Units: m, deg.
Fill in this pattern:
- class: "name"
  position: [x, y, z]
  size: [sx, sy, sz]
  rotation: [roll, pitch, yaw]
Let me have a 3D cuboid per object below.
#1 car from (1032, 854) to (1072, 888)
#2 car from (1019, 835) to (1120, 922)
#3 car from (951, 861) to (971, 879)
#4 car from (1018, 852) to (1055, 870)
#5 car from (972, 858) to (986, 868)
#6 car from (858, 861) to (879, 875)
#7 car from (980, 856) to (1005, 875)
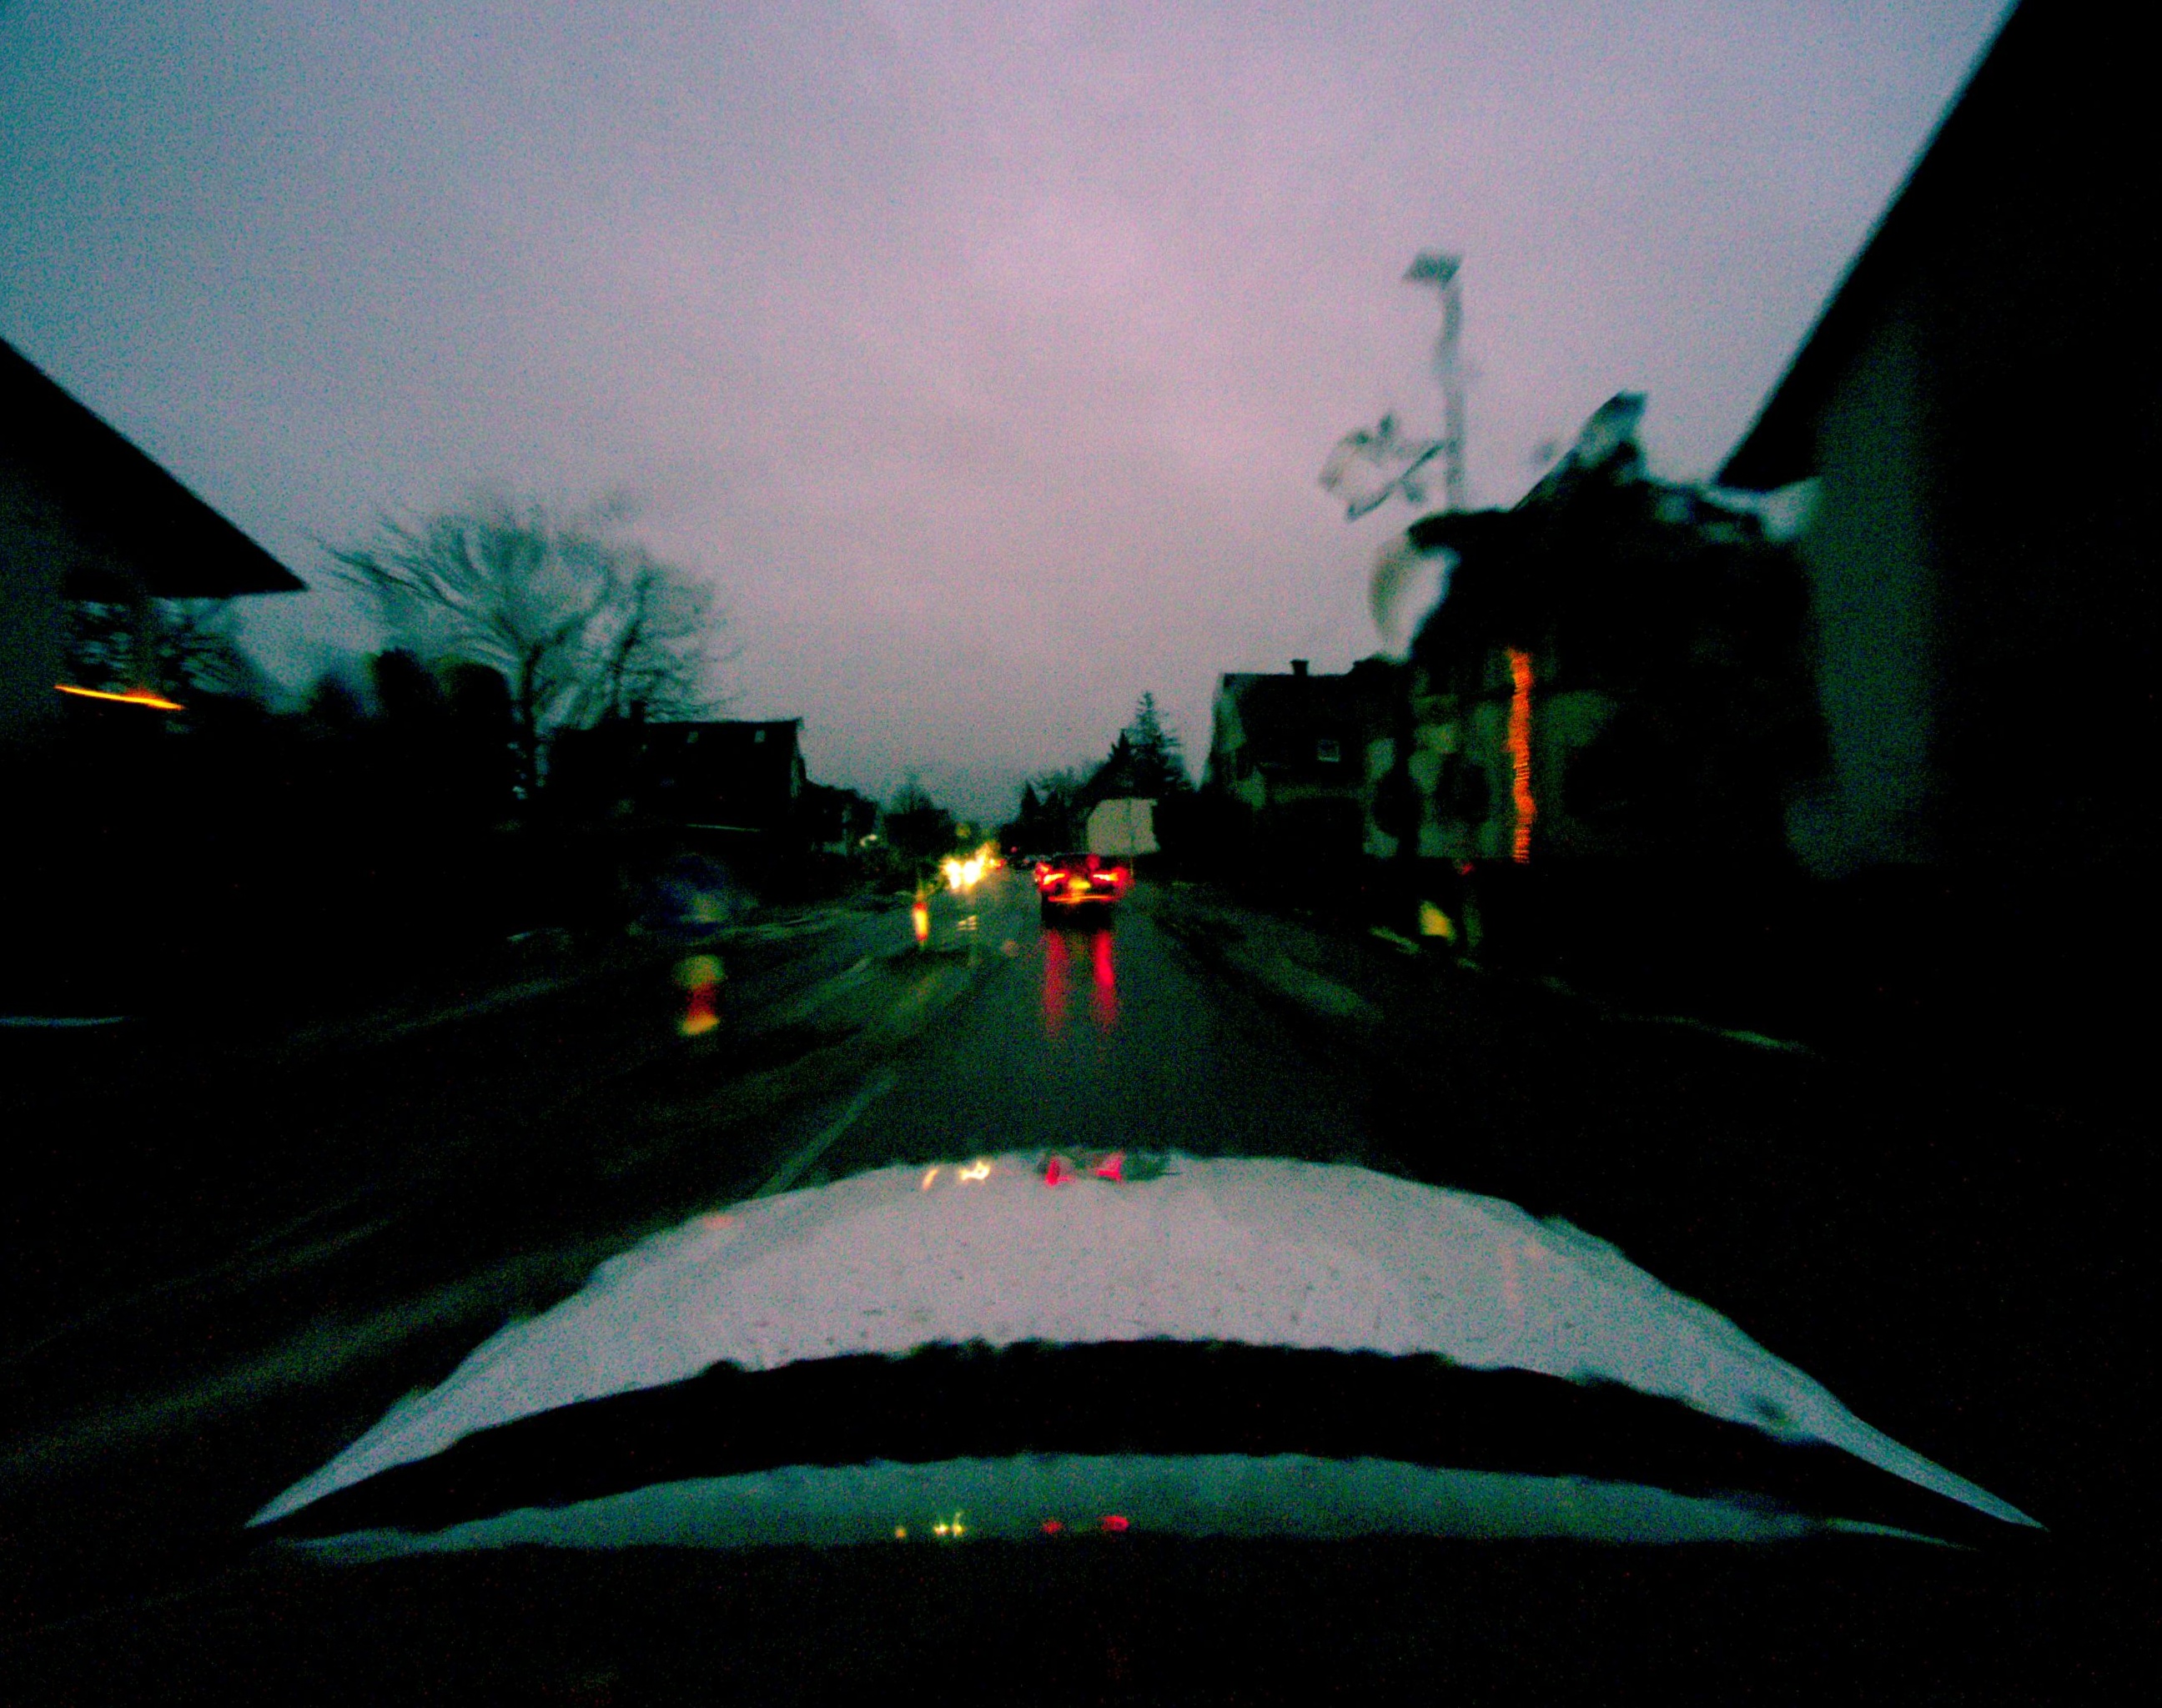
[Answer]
- class: "car"
  position: [-1.601, 0.875, 43.691]
  size: [1.855, 1.647, 3.992]
  rotation: [-1, 0, -6]
- class: "car"
  position: [-0.333, 0.596, 21.556]
  size: [2.303, 1.938, 5.014]
  rotation: [-2, -1, -2]
- class: "car"
  position: [-11.704, 1.566, 79.769]
  size: [1.822, 1.554, 3.989]
  rotation: [-3, 0, -8]
- class: "car"
  position: [-5.331, 0.859, 97.443]
  size: [4.241, 2.013, 1.807]
  rotation: [-2, 0, -6]
- class: "car"
  position: [-15.110, 1.345, 120.340]
  size: [1.843, 1.331, 3.922]
  rotation: [-2, 0, -11]
- class: "car"
  position: [-22.458, 1.497, 85.911]
  size: [1.783, 1.393, 3.973]
  rotation: [0, -1, -20]
- class: "car"
  position: [-9.870, 1.291, 90.611]
  size: [2.310, 1.938, 5.000]
  rotation: [-2, -1, -10]
